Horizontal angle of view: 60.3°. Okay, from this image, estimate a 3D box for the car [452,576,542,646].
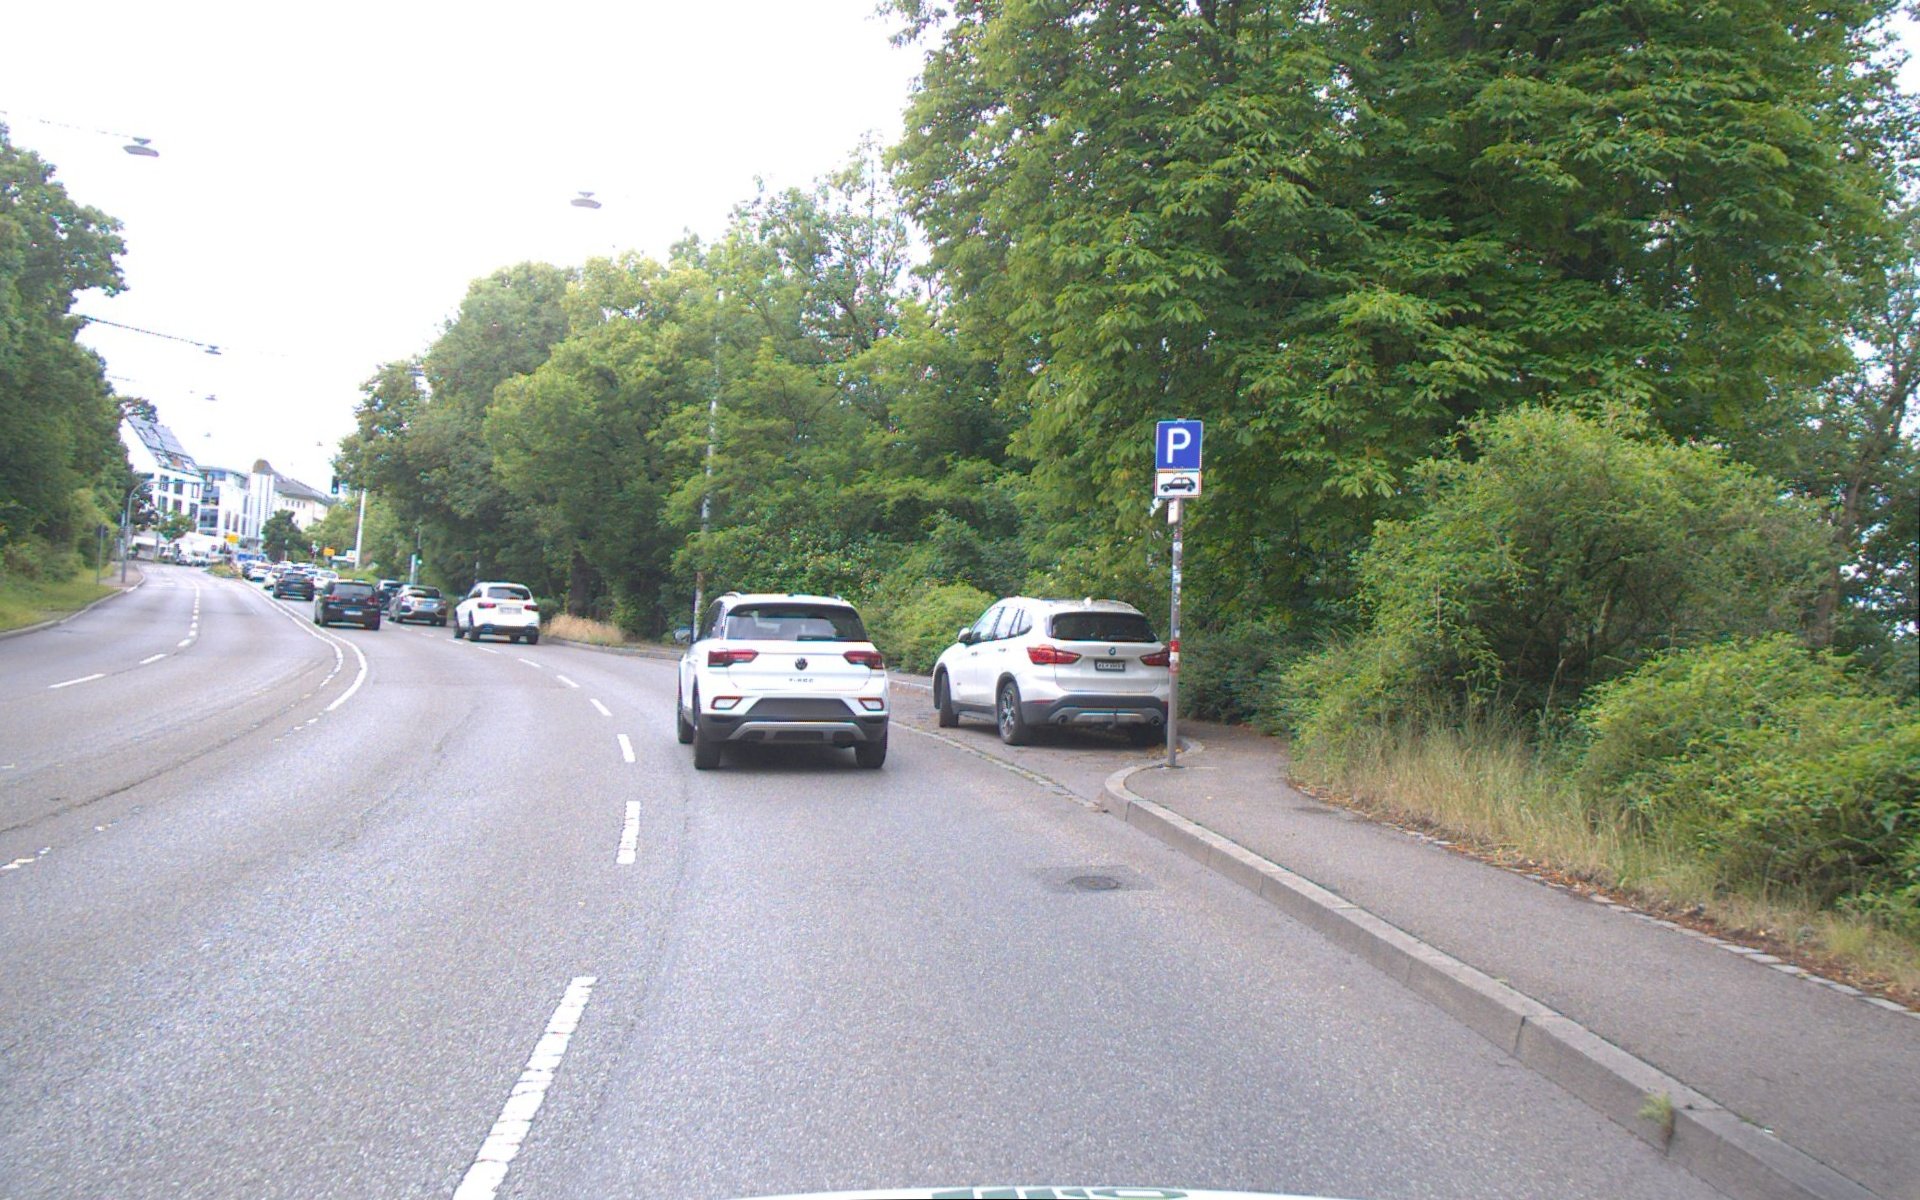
[{"bbox_3d":[-13.112,0.276,46.704,1.828,1.732,3.970,0,3,-25],"label":"car"}]

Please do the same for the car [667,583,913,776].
[{"bbox_3d":[-1.786,0.670,16.119,1.965,1.624,3.988,1,0,-12],"label":"car"}]

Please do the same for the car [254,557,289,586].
[{"bbox_3d":[-43.161,-1.795,103.766,1.685,1.617,3.977,4,0,-20],"label":"car"}]

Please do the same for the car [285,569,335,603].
[{"bbox_3d":[-32.955,-0.742,84.000,1.962,1.512,3.981,4,0,-17],"label":"car"}]

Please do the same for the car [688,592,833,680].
[{"bbox_3d":[-4.251,0.709,34.560,1.709,1.508,4.669,4,0,-23],"label":"car"}]

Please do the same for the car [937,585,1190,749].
[{"bbox_3d":[1.065,0.695,19.333,1.728,1.681,4.365,1,0,-14],"label":"car"}]

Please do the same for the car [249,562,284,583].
[{"bbox_3d":[-57.852,-2.295,138.015,1.959,1.554,3.988,4,0,-13],"label":"car"}]

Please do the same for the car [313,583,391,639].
[{"bbox_3d":[-19.038,0.308,51.712,1.924,1.491,3.970,4,0,-24],"label":"car"}]

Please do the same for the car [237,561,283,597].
[{"bbox_3d":[-35.147,-1.077,83.131,1.739,1.634,3.979,4,0,-19],"label":"car"}]
